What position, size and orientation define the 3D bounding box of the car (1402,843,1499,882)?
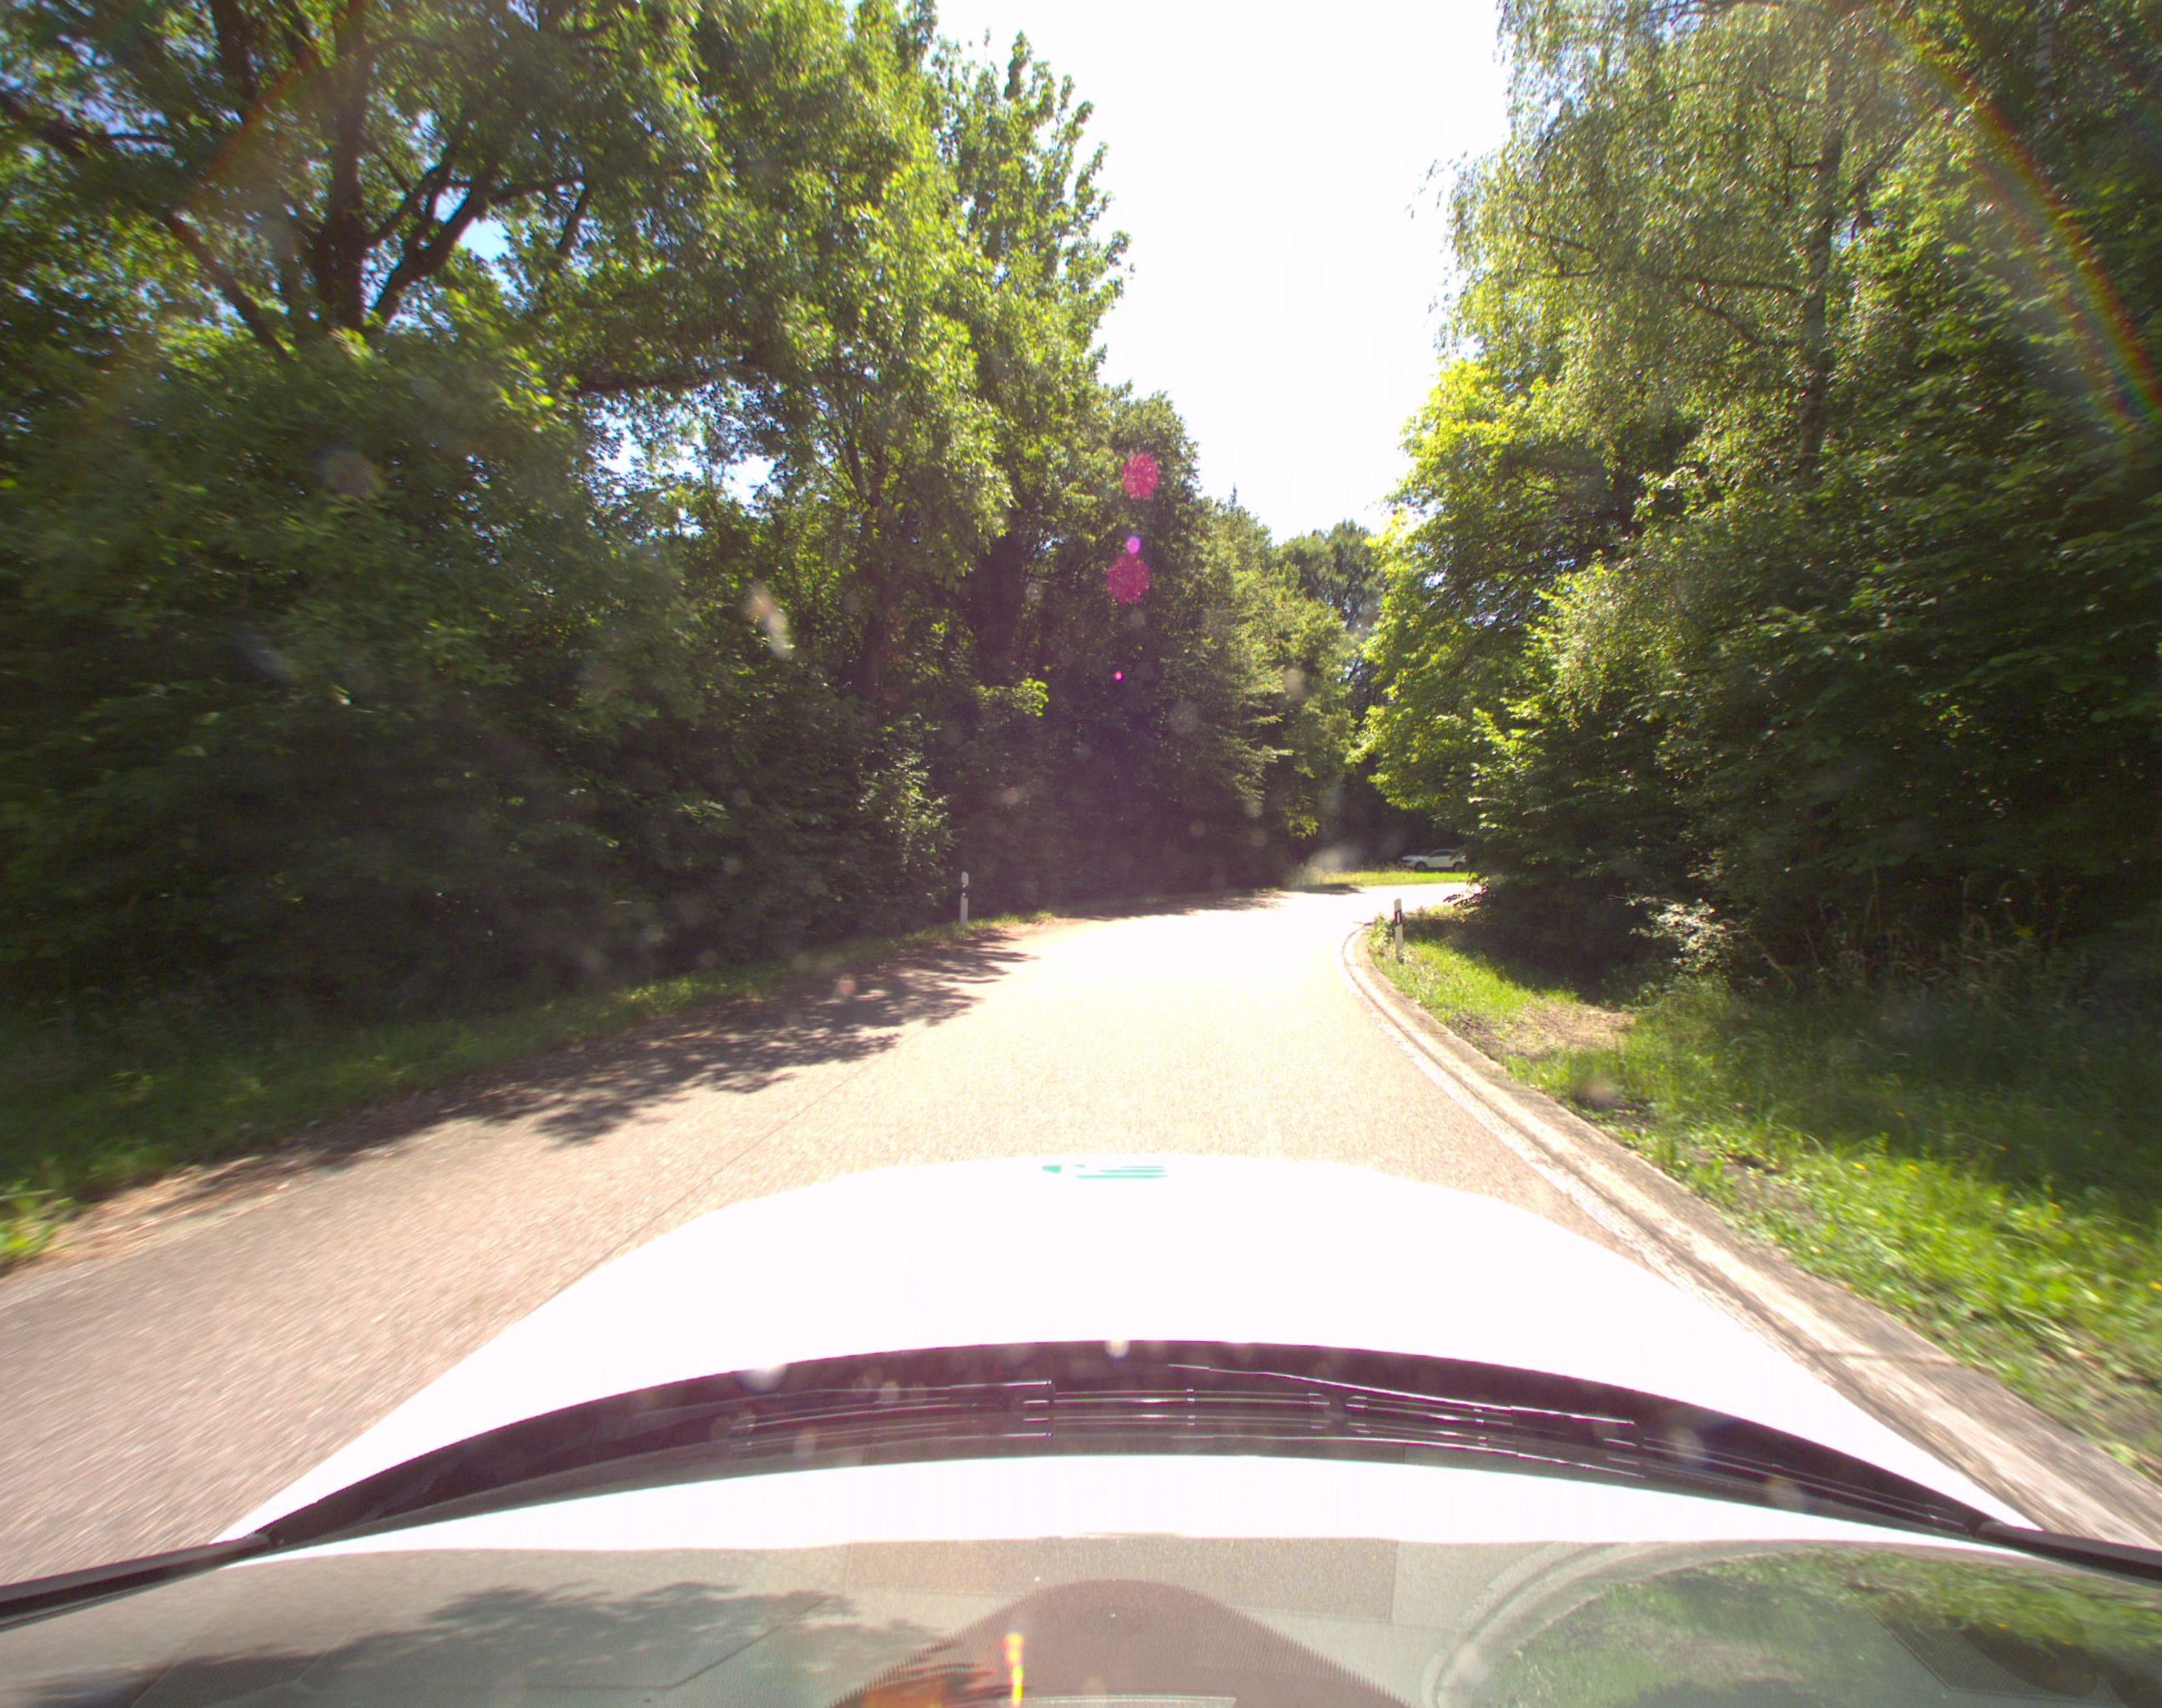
[{"bbox_3d":[23.964,0.523,52.889,5.400,2.345,2.065,0,3,-5],"label":"car"}]
